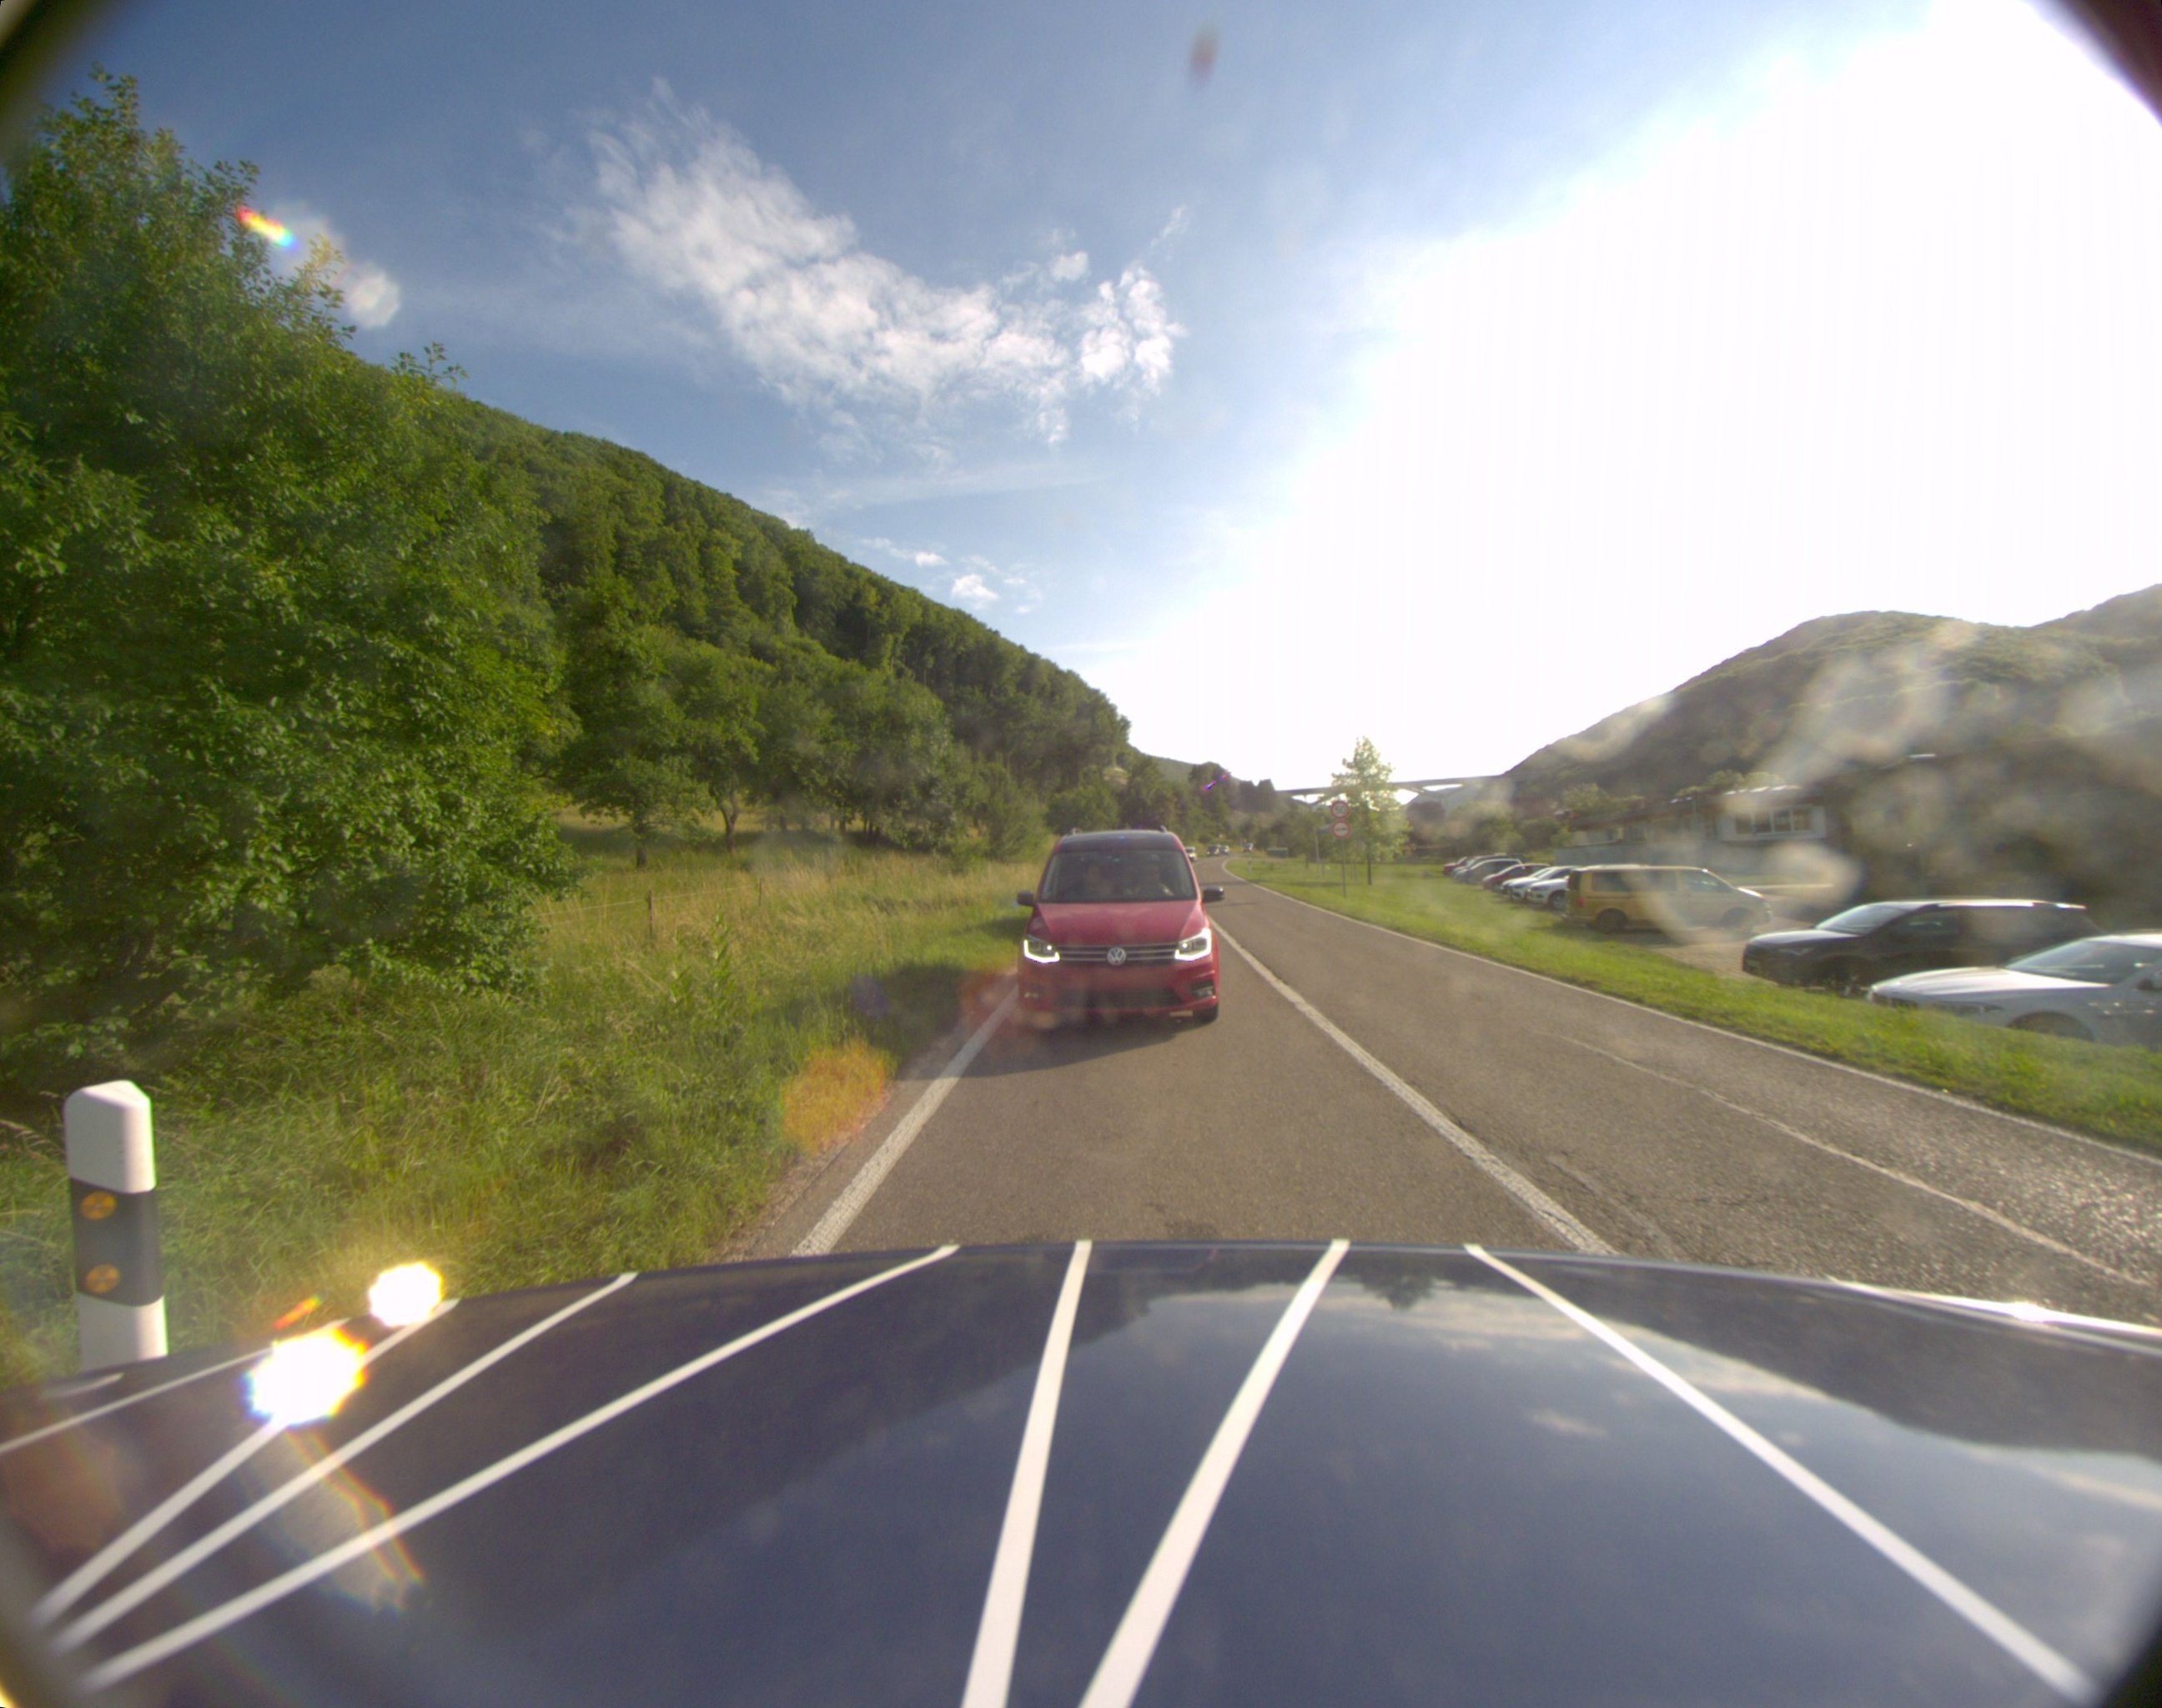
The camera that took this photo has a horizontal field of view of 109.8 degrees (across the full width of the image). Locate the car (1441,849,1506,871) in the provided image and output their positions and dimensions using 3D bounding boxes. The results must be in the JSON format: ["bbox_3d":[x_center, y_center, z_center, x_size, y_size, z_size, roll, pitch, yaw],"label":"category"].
[{"bbox_3d":[31.194,0.465,60.536,4.437,1.710,2.003,-1,1,21],"label":"car"}]

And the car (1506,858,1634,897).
[{"bbox_3d":[21.468,1.029,33.576,4.436,1.577,2.003,-1,1,22],"label":"car"}]

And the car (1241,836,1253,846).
[{"bbox_3d":[35.819,-2.824,164.179,1.908,1.893,4.005,-2,1,20],"label":"car"}]

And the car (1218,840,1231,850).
[{"bbox_3d":[25.616,-1.516,135.581,1.996,1.707,4.005,-2,0,16],"label":"car"}]

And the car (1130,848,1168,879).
[{"bbox_3d":[3.480,0.456,39.501,1.798,1.464,4.284,-2,0,3],"label":"car"}]

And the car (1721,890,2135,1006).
[{"bbox_3d":[13.979,1.548,12.910,4.288,1.628,1.915,-3,0,17],"label":"car"}]

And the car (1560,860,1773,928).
[{"bbox_3d":[17.144,1.132,22.568,4.652,1.802,2.003,-1,1,22],"label":"car"}]

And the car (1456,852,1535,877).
[{"bbox_3d":[27.743,0.705,51.026,4.437,1.573,2.003,-2,0,21],"label":"car"}]

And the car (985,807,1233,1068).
[{"bbox_3d":[0.310,0.617,7.692,1.746,1.849,4.349,-2,0,3],"label":"car"}]

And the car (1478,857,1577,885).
[{"bbox_3d":[24.275,0.902,41.504,4.436,1.443,2.003,-1,1,22],"label":"car"}]

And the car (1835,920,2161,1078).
[{"bbox_3d":[12.298,1.624,8.836,4.645,1.488,1.915,-1,1,18],"label":"car"}]

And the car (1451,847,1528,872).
[{"bbox_3d":[29.708,0.409,55.414,4.664,1.753,2.003,-1,1,21],"label":"car"}]

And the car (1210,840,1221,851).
[{"bbox_3d":[21.495,-1.342,121.779,1.677,1.637,3.348,-2,0,9],"label":"car"}]

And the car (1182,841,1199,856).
[{"bbox_3d":[13.139,-0.652,91.071,1.797,1.725,4.287,-2,0,12],"label":"car"}]

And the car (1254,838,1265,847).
[{"bbox_3d":[41.352,-2.679,175.973,1.909,1.893,4.004,-2,1,18],"label":"car"}]

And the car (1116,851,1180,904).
[{"bbox_3d":[2.025,0.665,23.918,1.798,1.464,4.284,-2,0,3],"label":"car"}]

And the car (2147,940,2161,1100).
[{"bbox_3d":[12.008,1.593,5.898,3.991,1.526,1.836,-1,1,21],"label":"car"}]

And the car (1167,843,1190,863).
[{"bbox_3d":[8.619,-0.079,67.091,1.911,1.675,4.002,-2,0,8],"label":"car"}]

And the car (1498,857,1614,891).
[{"bbox_3d":[22.796,0.956,36.681,4.437,1.574,2.003,-1,1,20],"label":"car"}]

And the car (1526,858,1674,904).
[{"bbox_3d":[20.463,1.054,30.213,4.544,1.691,2.003,-1,1,22],"label":"car"}]
